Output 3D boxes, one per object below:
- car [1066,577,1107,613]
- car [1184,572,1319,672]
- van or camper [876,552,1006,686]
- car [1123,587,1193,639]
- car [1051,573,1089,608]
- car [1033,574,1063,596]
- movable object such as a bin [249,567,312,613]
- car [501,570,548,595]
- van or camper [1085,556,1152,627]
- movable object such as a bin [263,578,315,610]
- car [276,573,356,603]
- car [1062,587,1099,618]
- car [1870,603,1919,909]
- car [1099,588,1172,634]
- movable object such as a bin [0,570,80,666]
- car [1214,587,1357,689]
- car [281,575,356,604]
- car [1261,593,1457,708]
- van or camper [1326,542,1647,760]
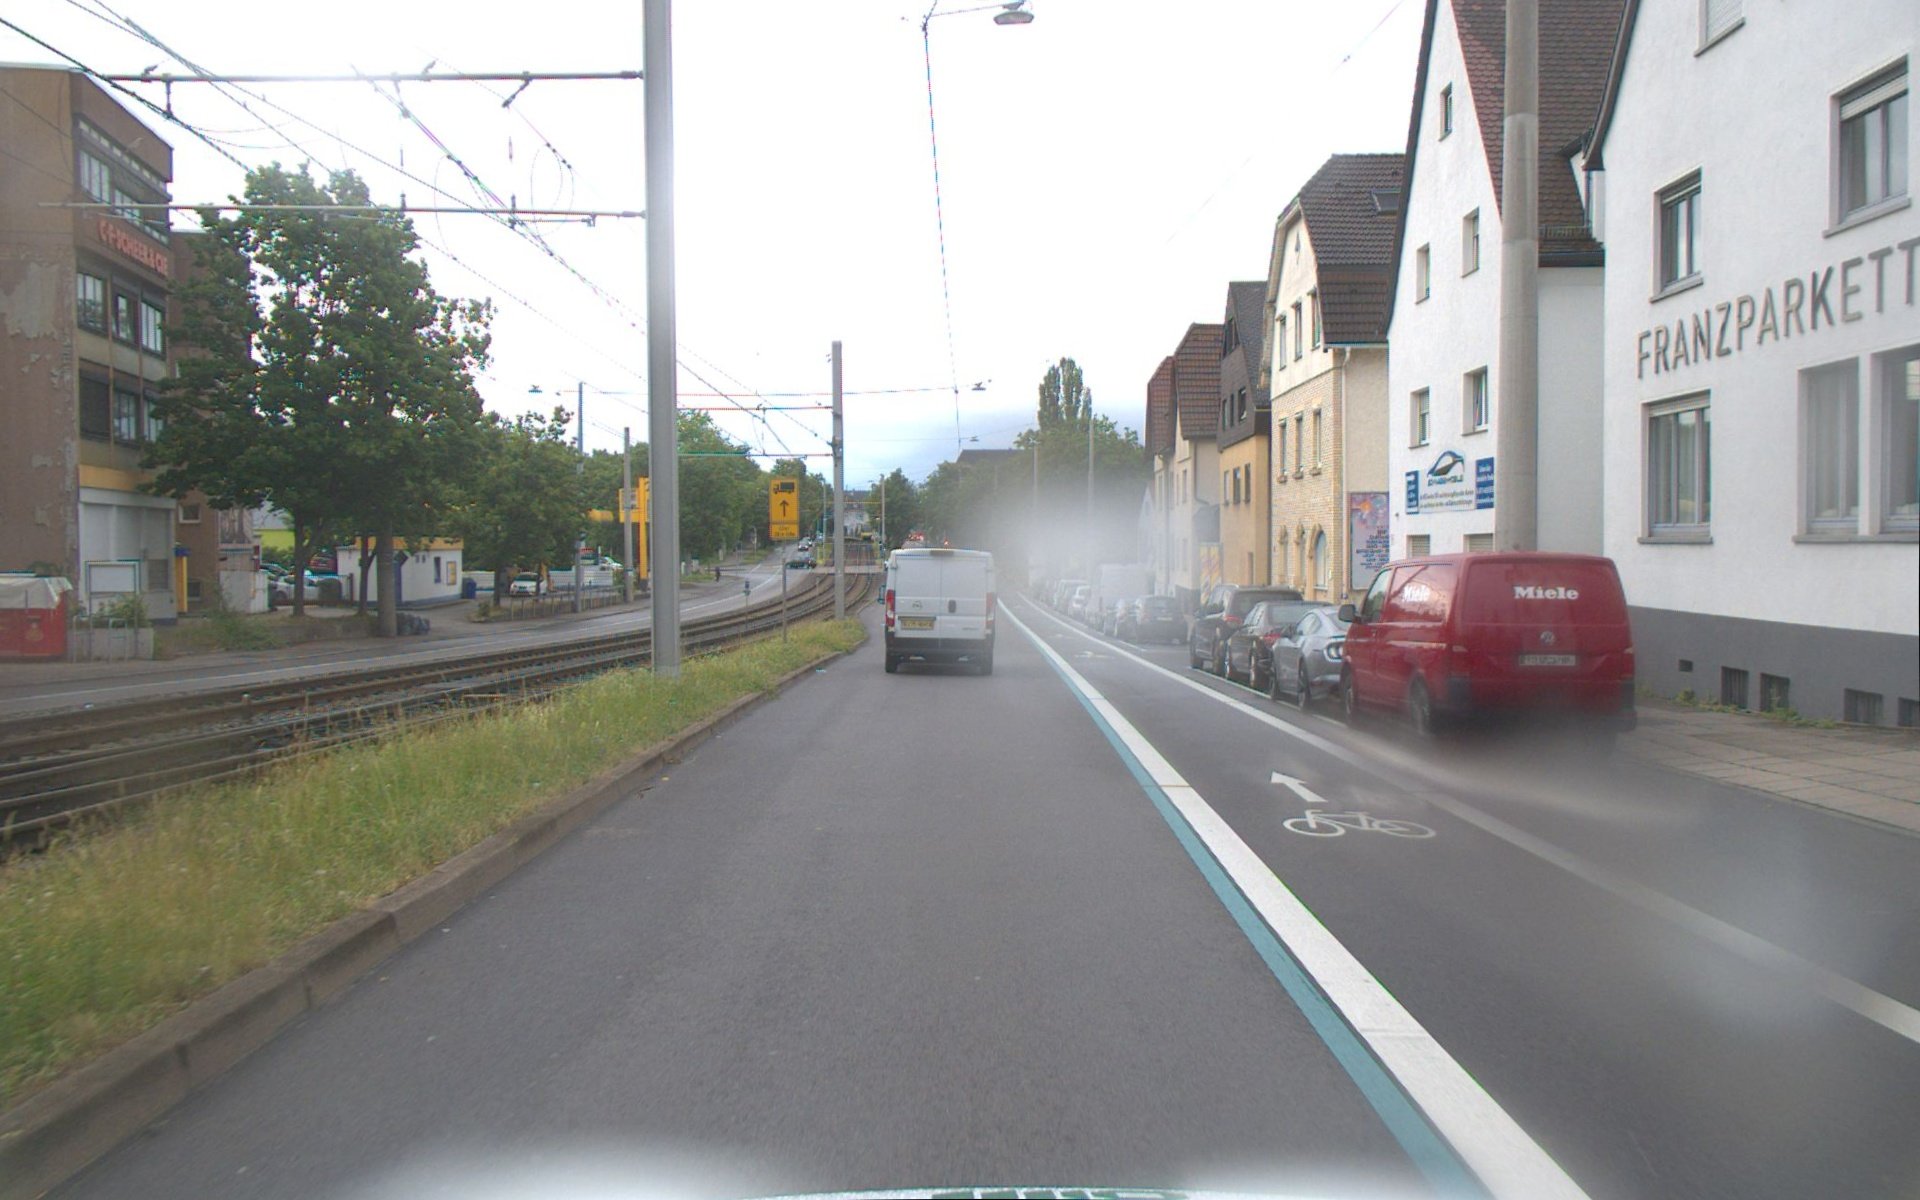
[{"bbox_3d":[6.199,-0.284,81.343,1.613,1.643,4.104,1,1,-1],"label":"car"},{"bbox_3d":[5.808,0.392,33.492,1.802,1.831,4.686,2,1,-1],"label":"car"},{"bbox_3d":[-0.448,0.311,31.295,2.155,2.292,4.680,1,0,-4],"label":"van or camper"},{"bbox_3d":[6.232,0.387,52.419,1.534,1.524,3.510,2,1,-4],"label":"car"},{"bbox_3d":[6.122,-0.564,92.393,1.711,1.838,3.954,1,2,-2],"label":"car"},{"bbox_3d":[6.153,-1.067,115.879,1.810,1.526,3.953,1,1,-2],"label":"car"},{"bbox_3d":[-30.794,-0.475,75.027,1.958,1.952,3.562,1,2,-11],"label":"movable object such as a bin"},{"bbox_3d":[-26.670,-1.050,101.442,1.954,1.467,3.998,1,0,-3],"label":"car"},{"bbox_3d":[6.218,-0.397,65.553,1.953,2.608,6.043,1,2,0],"label":"van or camper"},{"bbox_3d":[-31.507,-0.303,77.667,1.958,1.399,1.565,1,2,-12],"label":"movable object such as a bin"},{"bbox_3d":[-33.344,-0.621,85.647,3.718,1.479,1.539,1,0,-26],"label":"car"},{"bbox_3d":[6.309,0.114,86.864,1.613,1.471,3.954,1,1,-1],"label":"car"},{"bbox_3d":[5.350,0.734,6.536,1.545,1.477,3.721,-1,0,2],"label":"car"},{"bbox_3d":[6.137,0.362,58.282,1.753,1.430,4.550,1,1,-4],"label":"car"},{"bbox_3d":[-22.715,0.410,39.934,2.094,2.194,1.799,1,2,-9],"label":"movable object such as a bin"},{"bbox_3d":[5.565,0.598,28.735,1.600,1.565,4.135,2,1,-1],"label":"car"},{"bbox_3d":[-35.370,-0.569,91.163,3.718,1.505,1.562,1,0,-26],"label":"car"},{"bbox_3d":[5.403,0.622,23.000,1.759,1.400,4.672,0,1,2],"label":"car"},{"bbox_3d":[5.323,0.441,17.476,1.813,1.953,4.995,-1,1,0],"label":"van or camper"}]
